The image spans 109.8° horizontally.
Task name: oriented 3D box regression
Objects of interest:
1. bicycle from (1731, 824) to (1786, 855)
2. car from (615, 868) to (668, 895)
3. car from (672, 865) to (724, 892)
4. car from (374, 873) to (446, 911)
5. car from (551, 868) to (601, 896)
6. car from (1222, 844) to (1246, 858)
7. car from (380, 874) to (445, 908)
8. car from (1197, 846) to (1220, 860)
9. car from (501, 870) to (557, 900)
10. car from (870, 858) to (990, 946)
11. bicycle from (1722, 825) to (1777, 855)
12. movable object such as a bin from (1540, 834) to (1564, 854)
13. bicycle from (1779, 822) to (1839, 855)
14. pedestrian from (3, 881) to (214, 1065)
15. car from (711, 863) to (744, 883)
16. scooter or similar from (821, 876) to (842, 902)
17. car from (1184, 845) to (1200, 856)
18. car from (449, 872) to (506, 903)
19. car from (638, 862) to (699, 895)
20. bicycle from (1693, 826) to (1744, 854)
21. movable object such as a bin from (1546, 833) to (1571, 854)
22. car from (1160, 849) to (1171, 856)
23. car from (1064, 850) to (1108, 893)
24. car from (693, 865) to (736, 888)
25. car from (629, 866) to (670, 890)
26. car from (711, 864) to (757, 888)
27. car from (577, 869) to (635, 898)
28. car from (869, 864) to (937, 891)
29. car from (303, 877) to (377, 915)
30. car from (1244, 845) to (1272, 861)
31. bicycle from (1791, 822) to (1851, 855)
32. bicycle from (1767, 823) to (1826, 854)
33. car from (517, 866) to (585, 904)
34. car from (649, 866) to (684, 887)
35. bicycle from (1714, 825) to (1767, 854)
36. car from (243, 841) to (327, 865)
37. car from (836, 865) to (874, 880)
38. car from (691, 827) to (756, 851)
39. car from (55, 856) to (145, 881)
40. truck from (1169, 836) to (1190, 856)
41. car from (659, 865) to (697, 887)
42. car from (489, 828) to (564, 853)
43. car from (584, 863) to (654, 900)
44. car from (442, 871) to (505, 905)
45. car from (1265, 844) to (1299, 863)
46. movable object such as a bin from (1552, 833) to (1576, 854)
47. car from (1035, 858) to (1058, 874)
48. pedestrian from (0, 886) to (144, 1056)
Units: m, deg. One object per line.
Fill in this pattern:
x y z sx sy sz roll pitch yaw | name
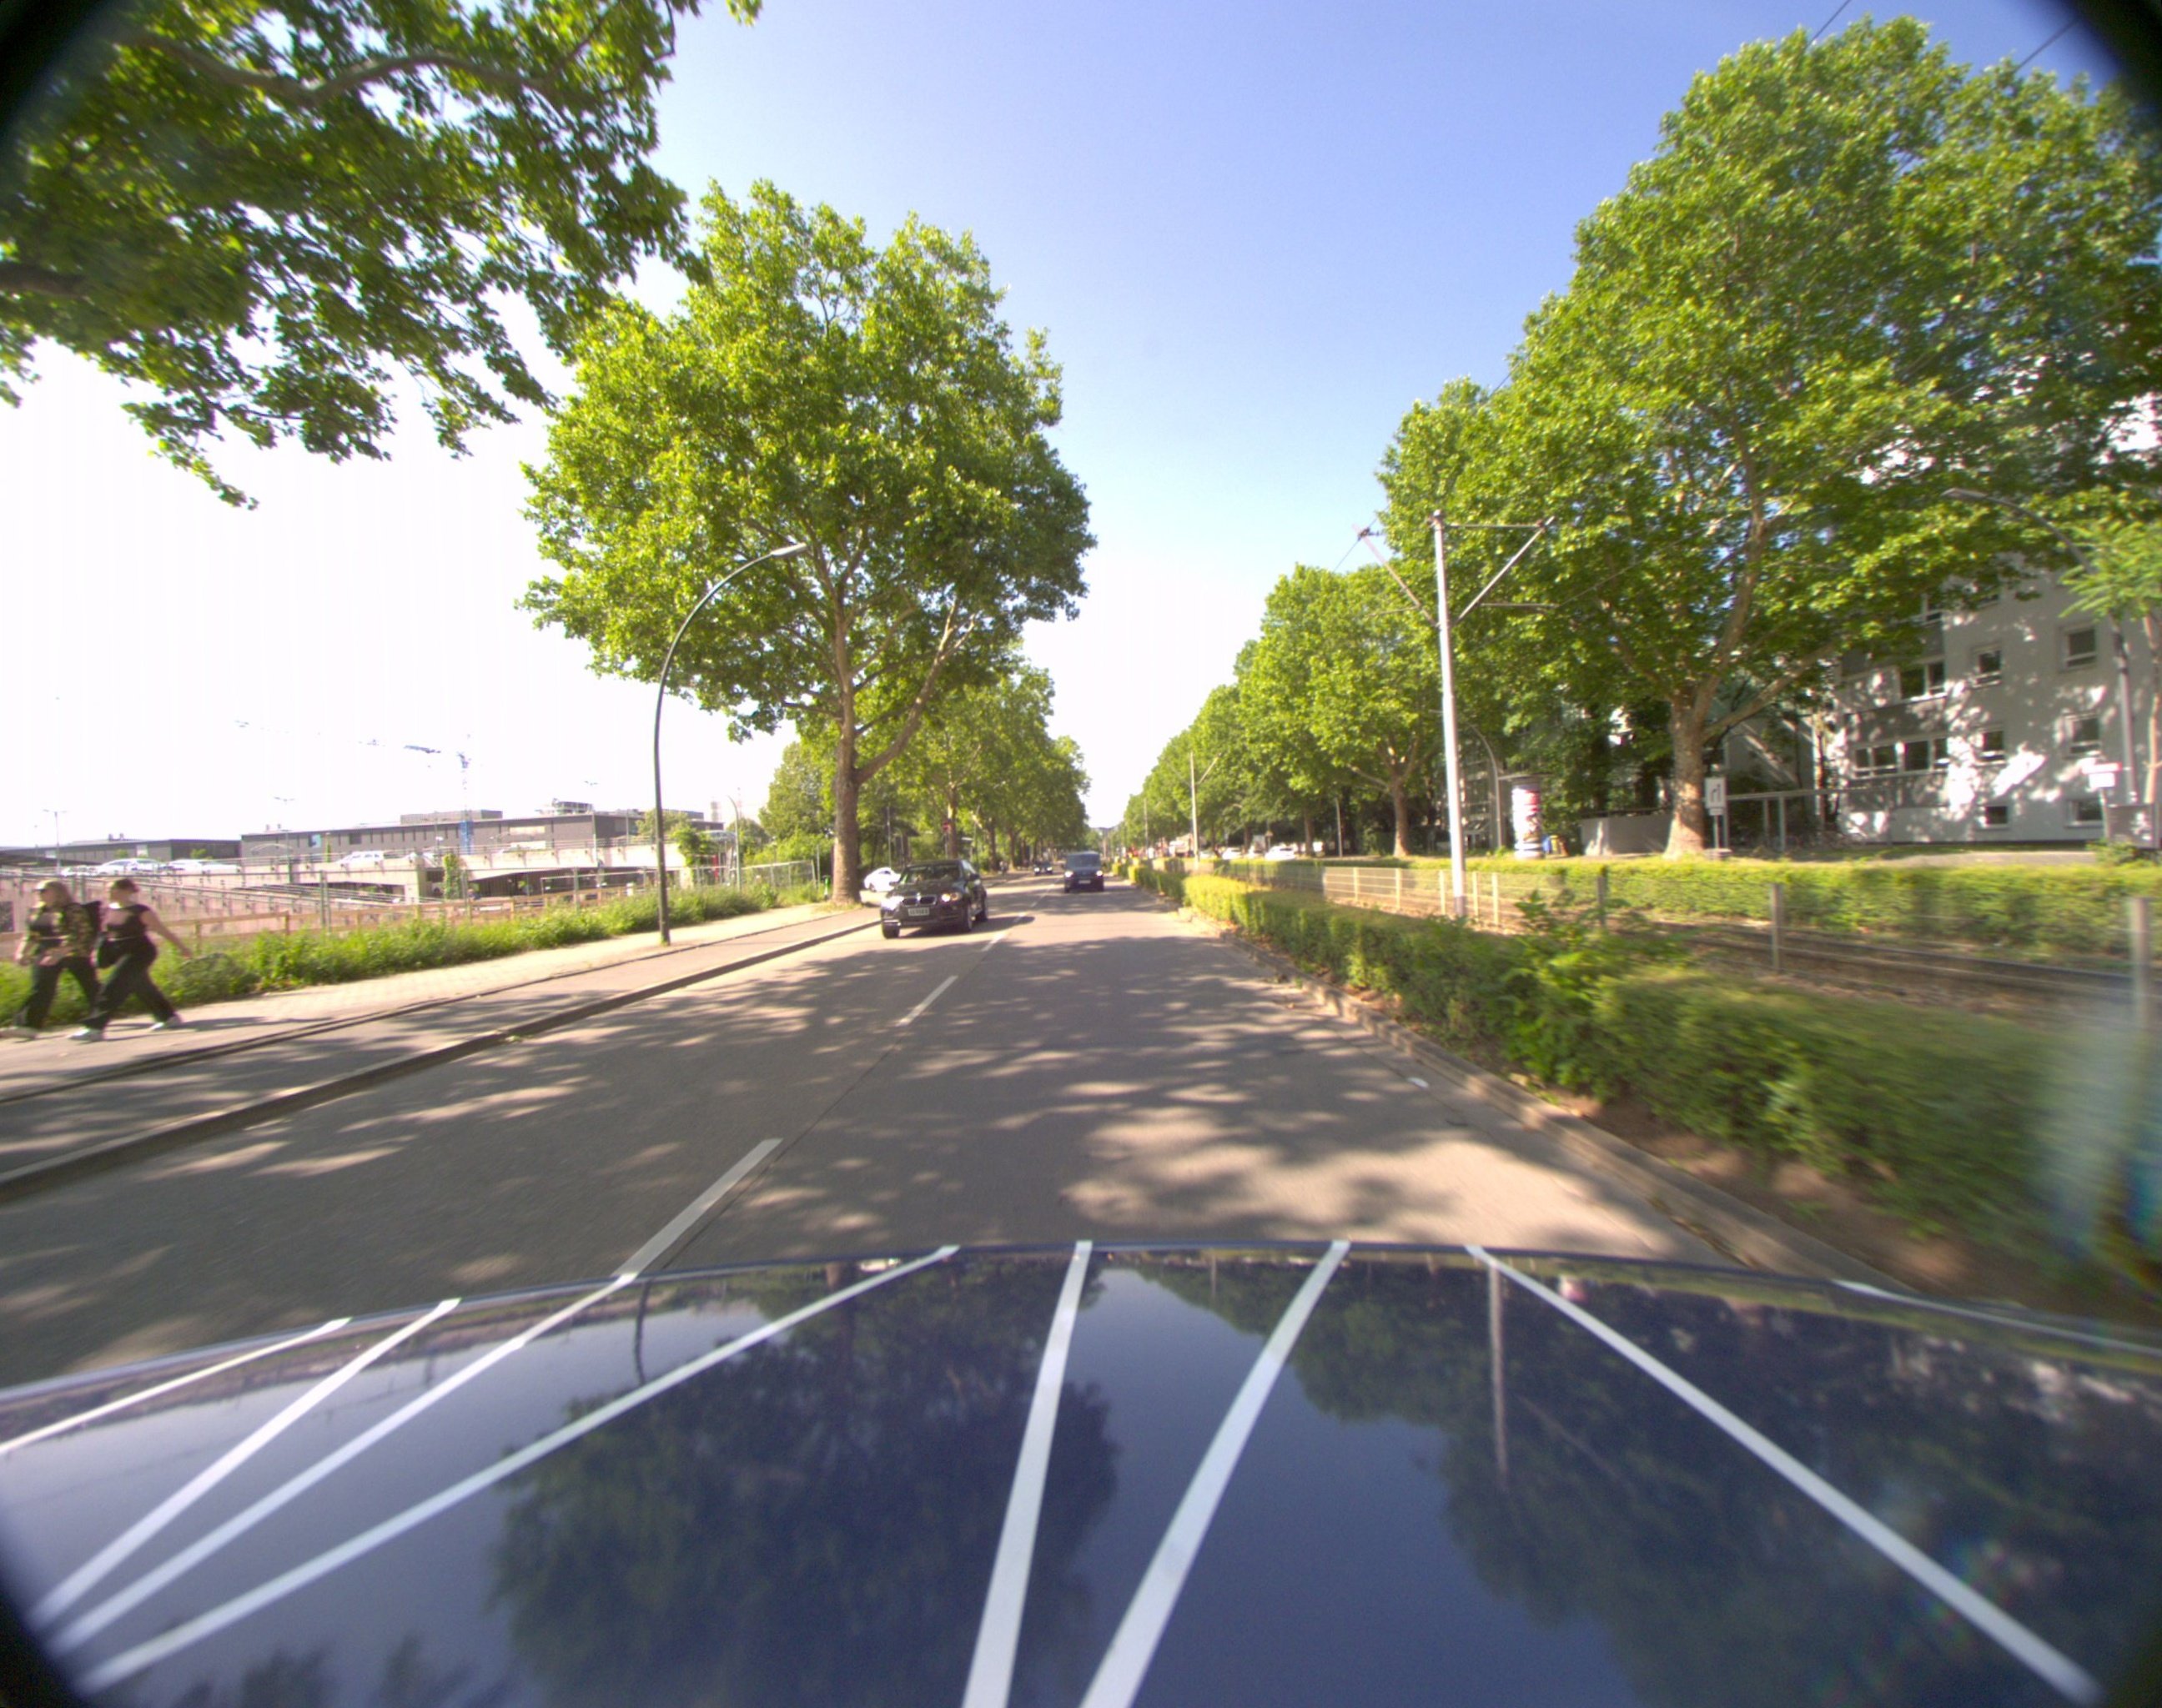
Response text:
27.072 -0.578 30.349 1.770 1.096 0.422 -3 0 0 | bicycle
-42.894 2.660 74.229 3.997 2.308 1.809 -3 0 -1 | car
-37.457 2.381 74.432 3.997 2.308 1.809 -3 0 -1 | car
-54.210 3.062 61.440 3.997 2.722 1.809 -3 0 -1 | car
-54.677 3.032 82.289 3.997 2.722 1.809 -3 0 -1 | car
17.673 -0.317 87.928 1.860 1.445 4.000 -3 0 0 | car
-59.998 3.340 68.261 3.997 2.722 1.809 -3 0 -1 | car
14.019 -0.097 83.621 1.860 1.445 4.000 -3 0 0 | car
-54.706 3.051 75.359 3.997 2.722 1.809 -3 0 -1 | car
-3.476 1.037 18.361 1.924 1.720 4.151 -4 0 0 | car
27.080 -0.580 30.788 1.770 1.096 0.422 -3 0 0 | bicycle
25.672 -0.558 41.397 0.898 1.031 0.546 -3 0 0 | movable object such as a bin
27.217 -0.581 28.406 1.770 1.096 0.422 -3 0 0 | bicycle
-10.060 1.180 7.922 0.711 1.714 1.066 -3 0 0 | pedestrian
-54.394 2.928 116.867 3.997 2.722 1.809 -3 0 -1 | car
-11.422 1.575 34.781 0.483 1.115 1.128 -3 0 2 | scooter or similar
16.090 -0.455 110.213 1.701 1.406 3.892 -6 0 0 | car
-59.770 3.311 75.253 3.997 2.722 1.809 -3 0 -1 | car
-37.271 2.197 68.670 4.375 2.722 1.809 -3 0 -1 | car
27.124 -0.586 32.336 1.770 1.096 0.422 -3 0 0 | bicycle
25.658 -0.556 40.831 0.898 1.031 0.546 -3 0 0 | movable object such as a bin
17.620 -0.329 158.123 1.752 1.445 3.865 -3 0 0 | car
0.298 0.751 35.363 1.789 1.839 4.000 -2 0 3 | car
-42.912 2.622 89.109 3.997 2.308 1.809 -3 0 -1 | car
-54.574 2.991 96.122 3.997 2.722 1.809 -3 0 -1 | car
-37.617 2.368 82.475 3.997 2.308 1.809 -3 0 -1 | car
-42.901 2.674 68.674 3.997 2.308 1.809 -3 0 -1 | car
-10.620 1.433 45.175 3.989 1.400 1.900 -3 0 42 | car
-59.978 3.357 61.519 3.997 2.722 1.809 -3 0 -1 | car
17.917 -0.098 77.276 1.856 1.445 4.000 -3 0 0 | car
27.211 -0.579 27.943 1.770 1.096 0.422 -3 0 0 | bicycle
27.210 -0.582 28.904 1.770 1.096 0.422 -3 0 0 | bicycle
-43.014 2.491 61.728 3.997 2.722 1.809 -3 0 -1 | car
-59.944 3.230 109.895 3.997 2.722 1.809 -3 0 -1 | car
27.116 -0.583 31.250 1.770 1.096 0.422 -3 0 0 | bicycle
-57.610 -0.082 55.049 3.997 1.501 1.809 -3 0 -1 | car
-27.404 2.225 92.154 3.997 1.501 1.809 -3 0 -1 | car
-27.076 -1.109 57.602 3.997 1.501 1.809 -3 0 -1 | car
-71.146 1.033 55.151 3.997 1.501 1.809 -3 0 -1 | car
17.372 -1.432 134.107 2.752 3.259 6.541 -3 0 0 | truck
-54.571 2.973 102.941 3.997 2.722 1.809 -3 0 -1 | car
-40.156 -0.975 55.085 3.997 1.501 1.809 -3 0 -1 | car
-37.453 2.225 61.639 4.375 2.722 1.809 -3 0 -1 | car
-54.686 3.068 68.472 3.997 2.722 1.809 -3 0 -1 | car
17.066 -0.049 64.692 1.820 1.482 3.912 -1 0 0 | car
25.586 -0.551 40.277 0.898 1.031 0.546 -3 0 0 | movable object such as a bin
-3.430 1.164 75.702 1.854 1.418 4.152 -4 0 3 | car
-11.062 1.214 8.161 0.697 1.673 0.959 -3 0 0 | pedestrian
